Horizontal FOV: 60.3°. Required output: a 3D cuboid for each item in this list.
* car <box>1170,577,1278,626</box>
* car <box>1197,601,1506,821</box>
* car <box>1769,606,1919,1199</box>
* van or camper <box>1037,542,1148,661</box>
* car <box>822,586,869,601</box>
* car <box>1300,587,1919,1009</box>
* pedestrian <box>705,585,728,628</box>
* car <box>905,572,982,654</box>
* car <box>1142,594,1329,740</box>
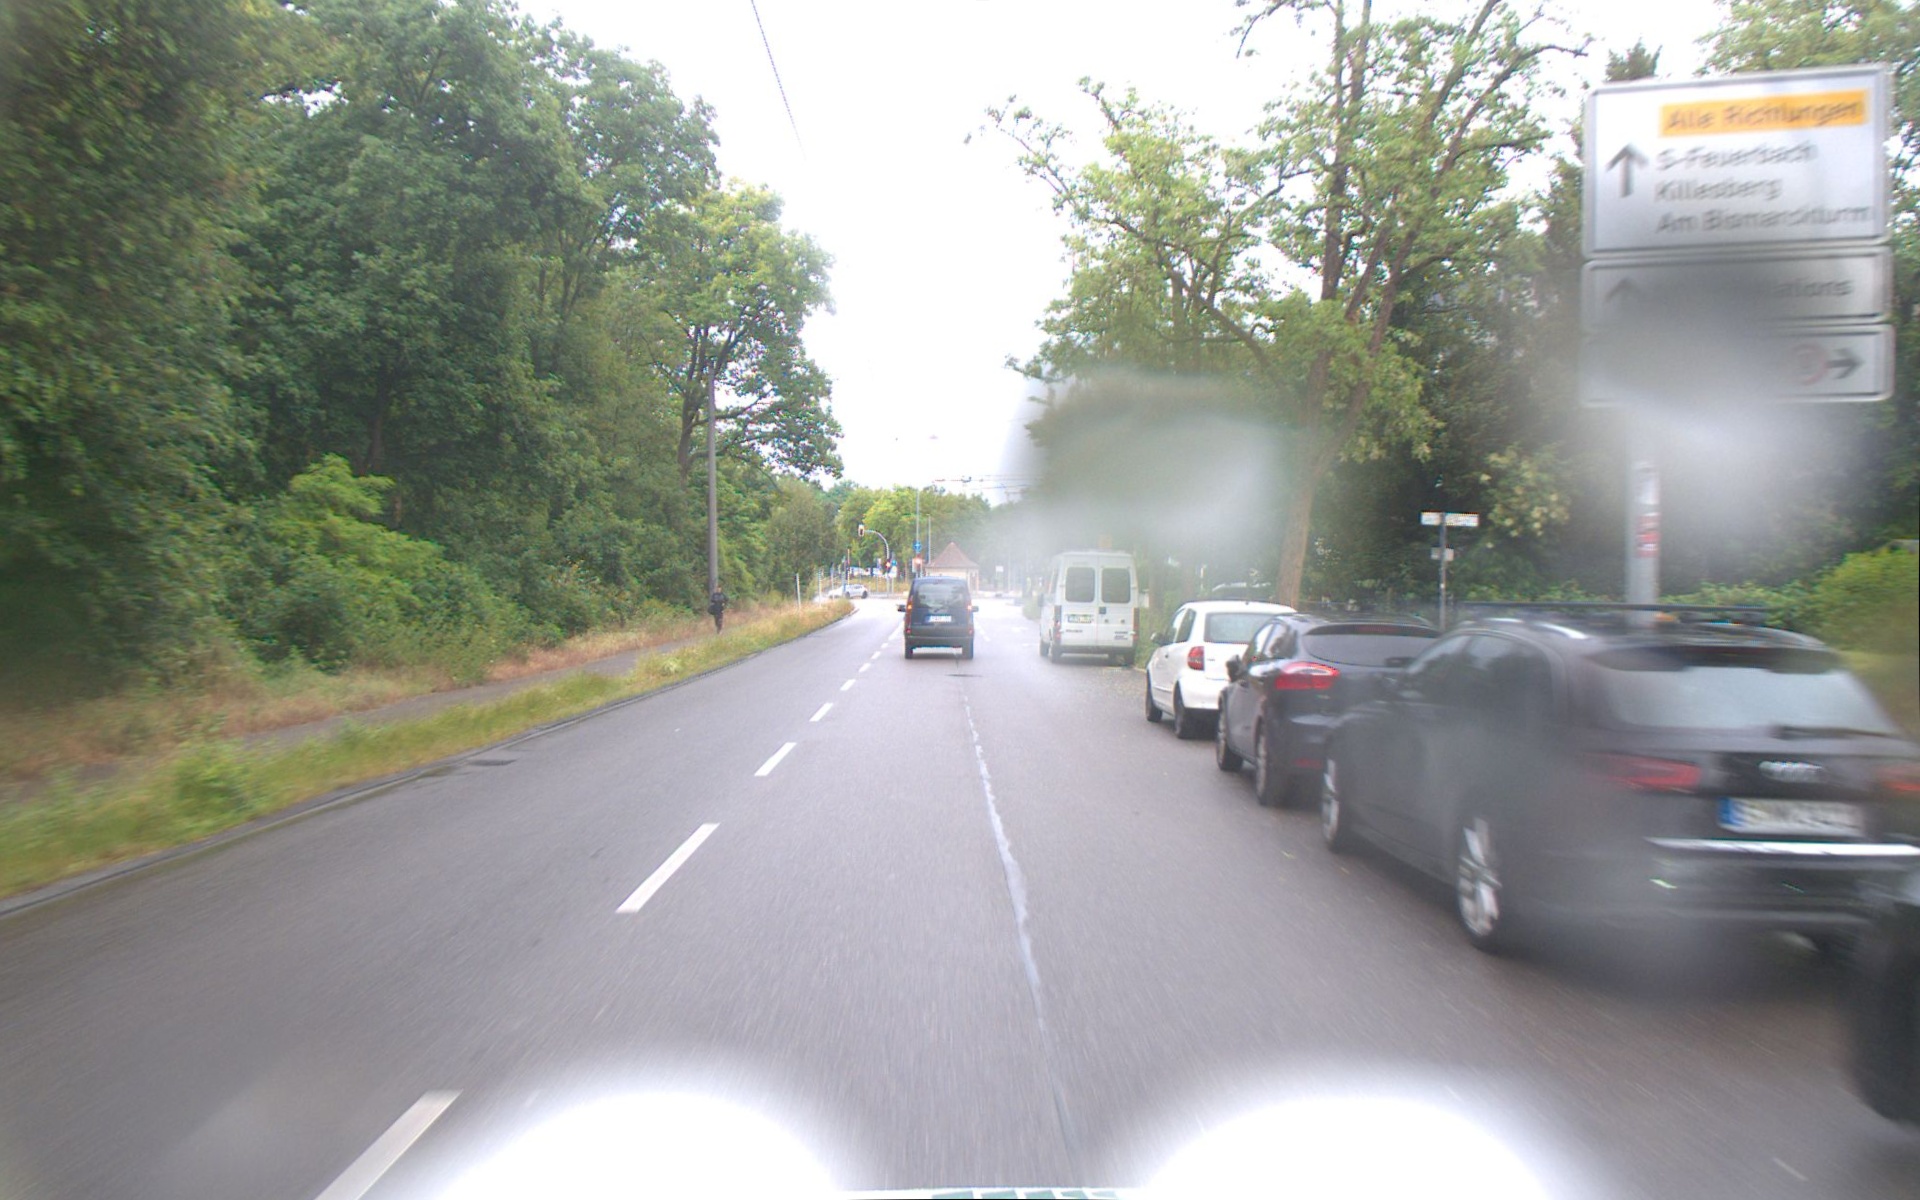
[{"bbox_3d":[10.677,0.052,66.822,4.212,1.849,1.876,1,1,10],"label":"car"},{"bbox_3d":[3.082,0.793,13.793,1.584,1.496,3.944,2,0,0],"label":"car"},{"bbox_3d":[3.265,0.808,2.703,1.585,1.494,4.409,2,0,-2],"label":"car"},{"bbox_3d":[3.036,0.008,39.123,1.996,2.522,5.637,3,0,-1],"label":"van or camper"},{"bbox_3d":[-11.225,-0.639,162.476,4.325,1.334,1.969,-3,1,-43],"label":"car"},{"bbox_3d":[3.167,0.738,8.654,1.717,1.553,4.823,2,0,0],"label":"car"},{"bbox_3d":[-9.260,0.244,62.964,0.765,1.636,0.732,0,0,-2],"label":"pedestrian"},{"bbox_3d":[-0.394,0.272,39.139,1.696,1.817,3.999,1,1,-1],"label":"car"},{"bbox_3d":[3.158,0.714,19.591,1.539,1.498,3.765,2,0,0],"label":"car"}]
